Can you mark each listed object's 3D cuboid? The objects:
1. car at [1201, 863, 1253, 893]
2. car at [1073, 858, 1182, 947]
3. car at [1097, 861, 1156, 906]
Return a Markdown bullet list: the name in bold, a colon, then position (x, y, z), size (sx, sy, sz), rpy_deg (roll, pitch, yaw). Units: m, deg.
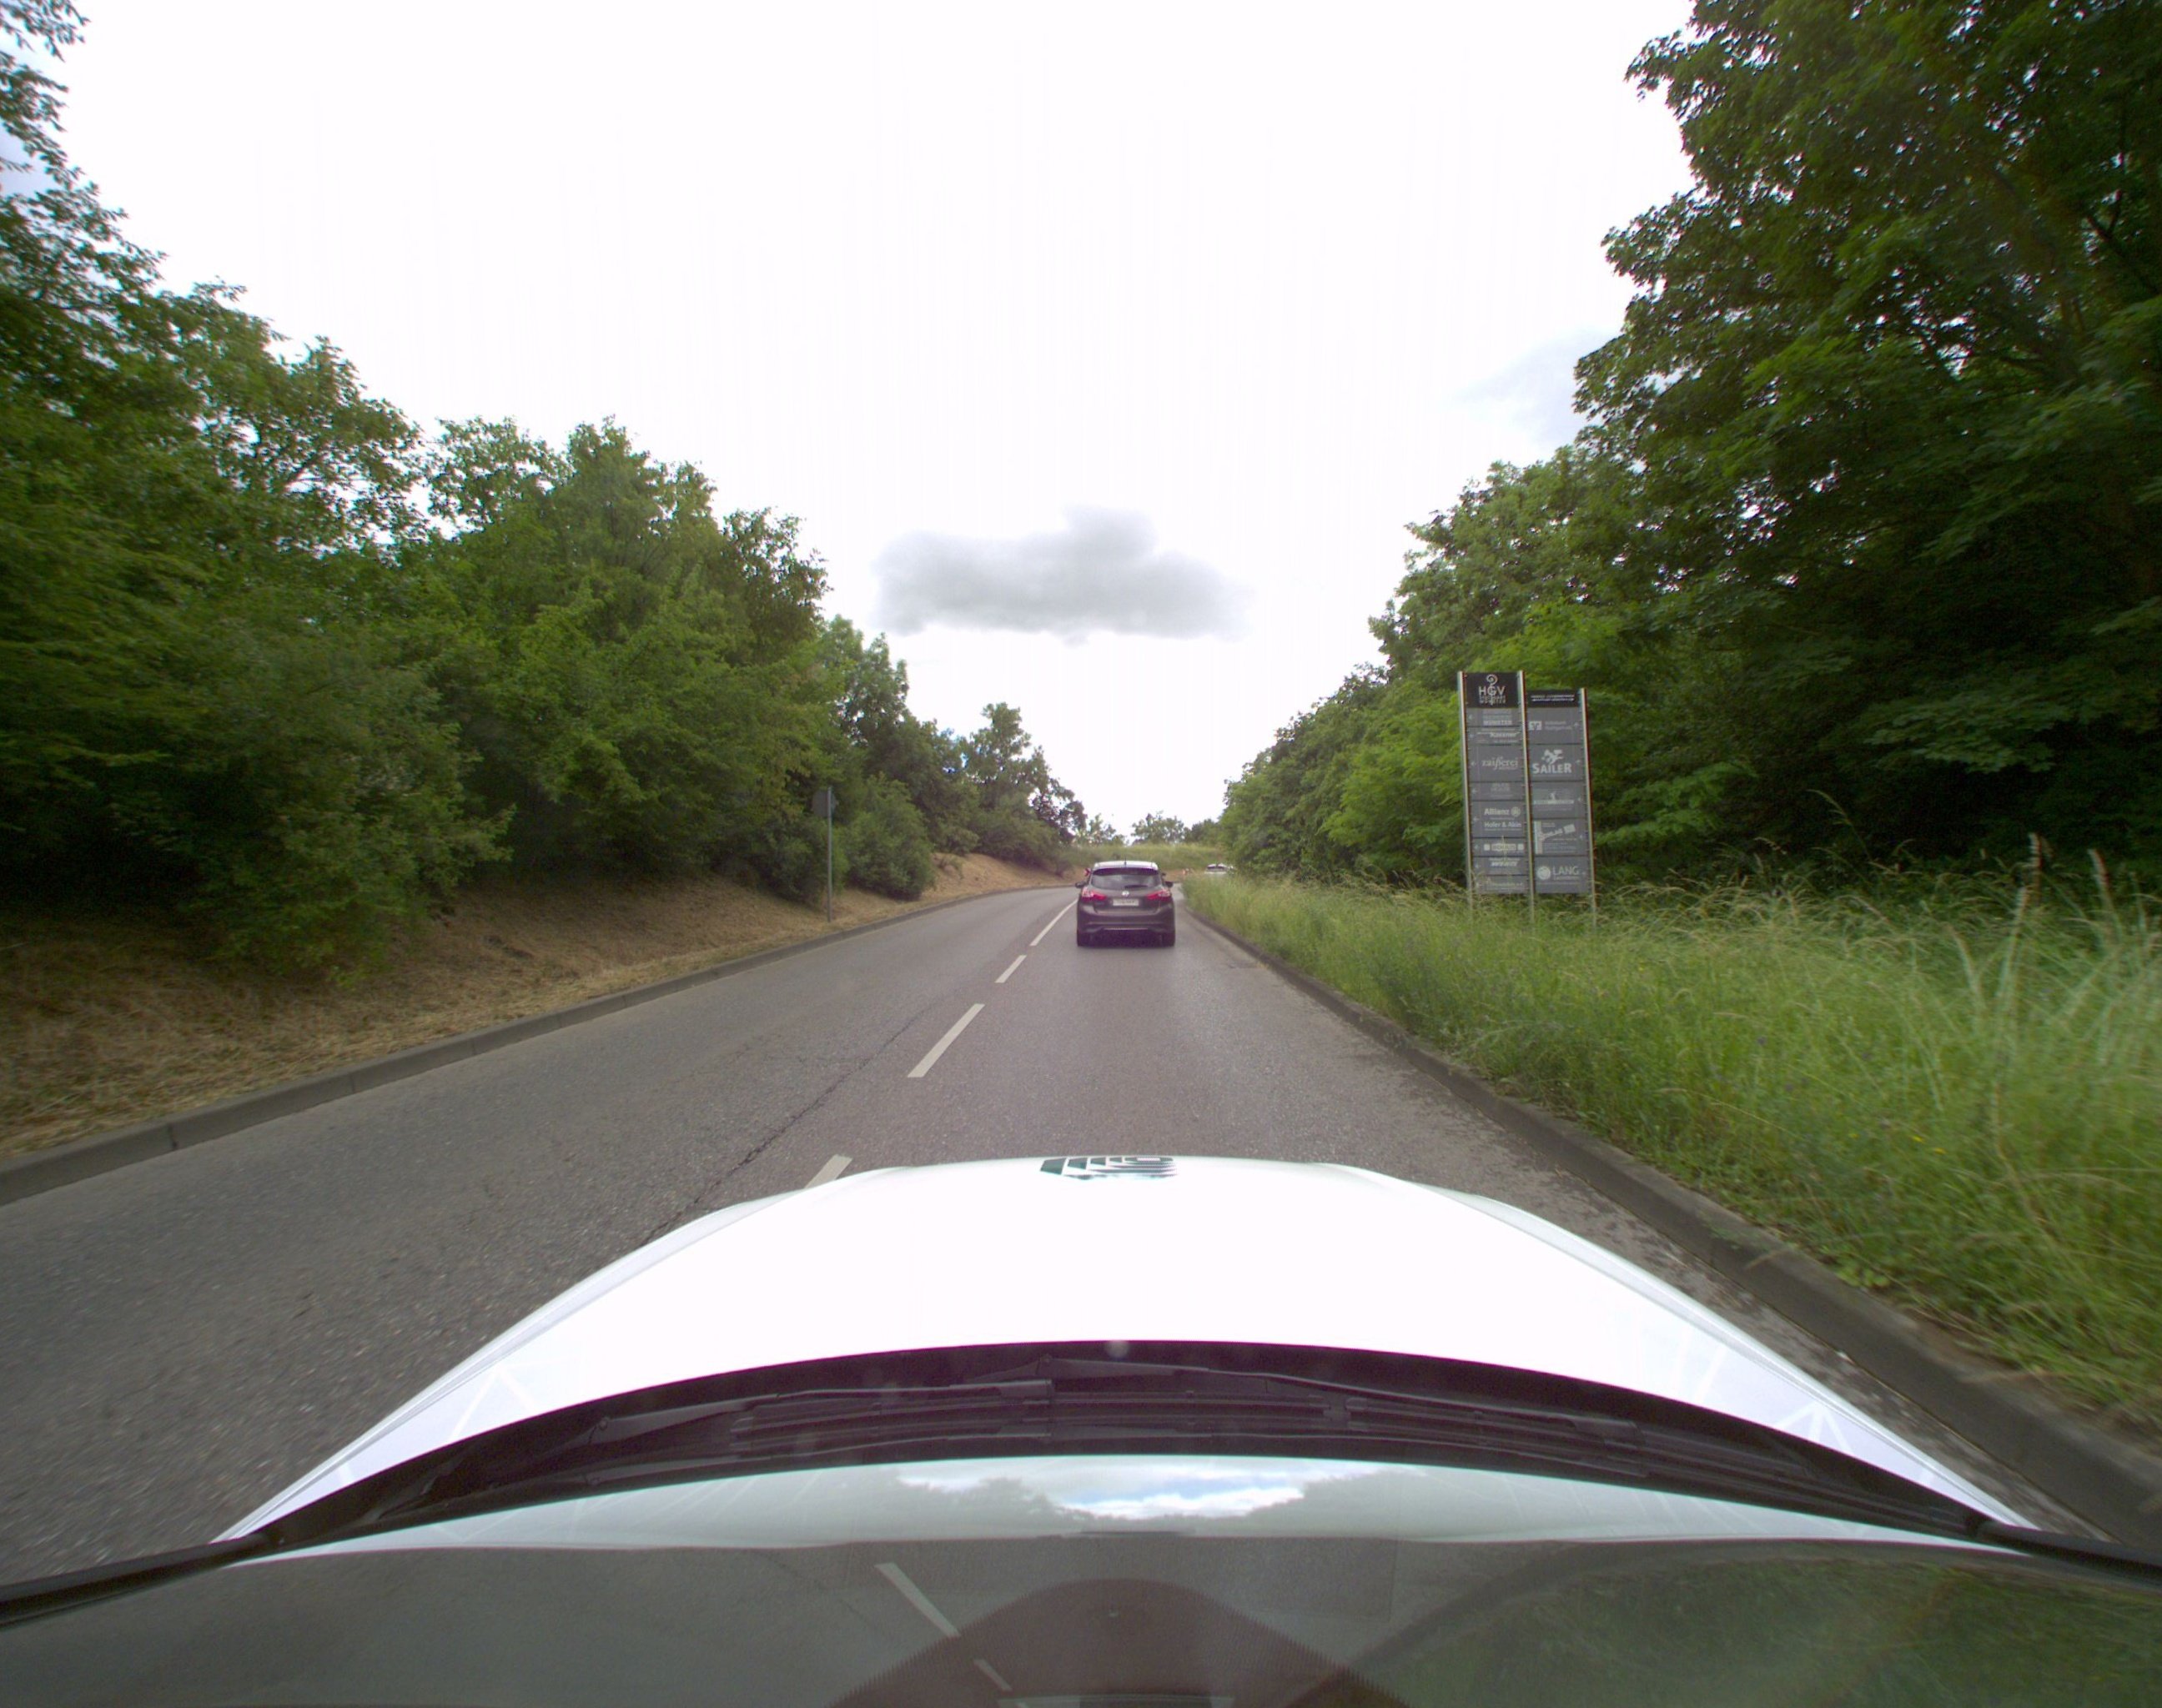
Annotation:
- **car**: position (8.133, 1.311, 45.111), size (1.704, 1.494, 3.599), rpy_deg (-2, 0, 29)
- **car**: position (0.791, 0.835, 15.940), size (1.839, 1.493, 3.999), rpy_deg (-1, 0, 0)
- **car**: position (1.647, 1.041, 30.722), size (1.839, 1.493, 4.225), rpy_deg (-2, 0, -1)
